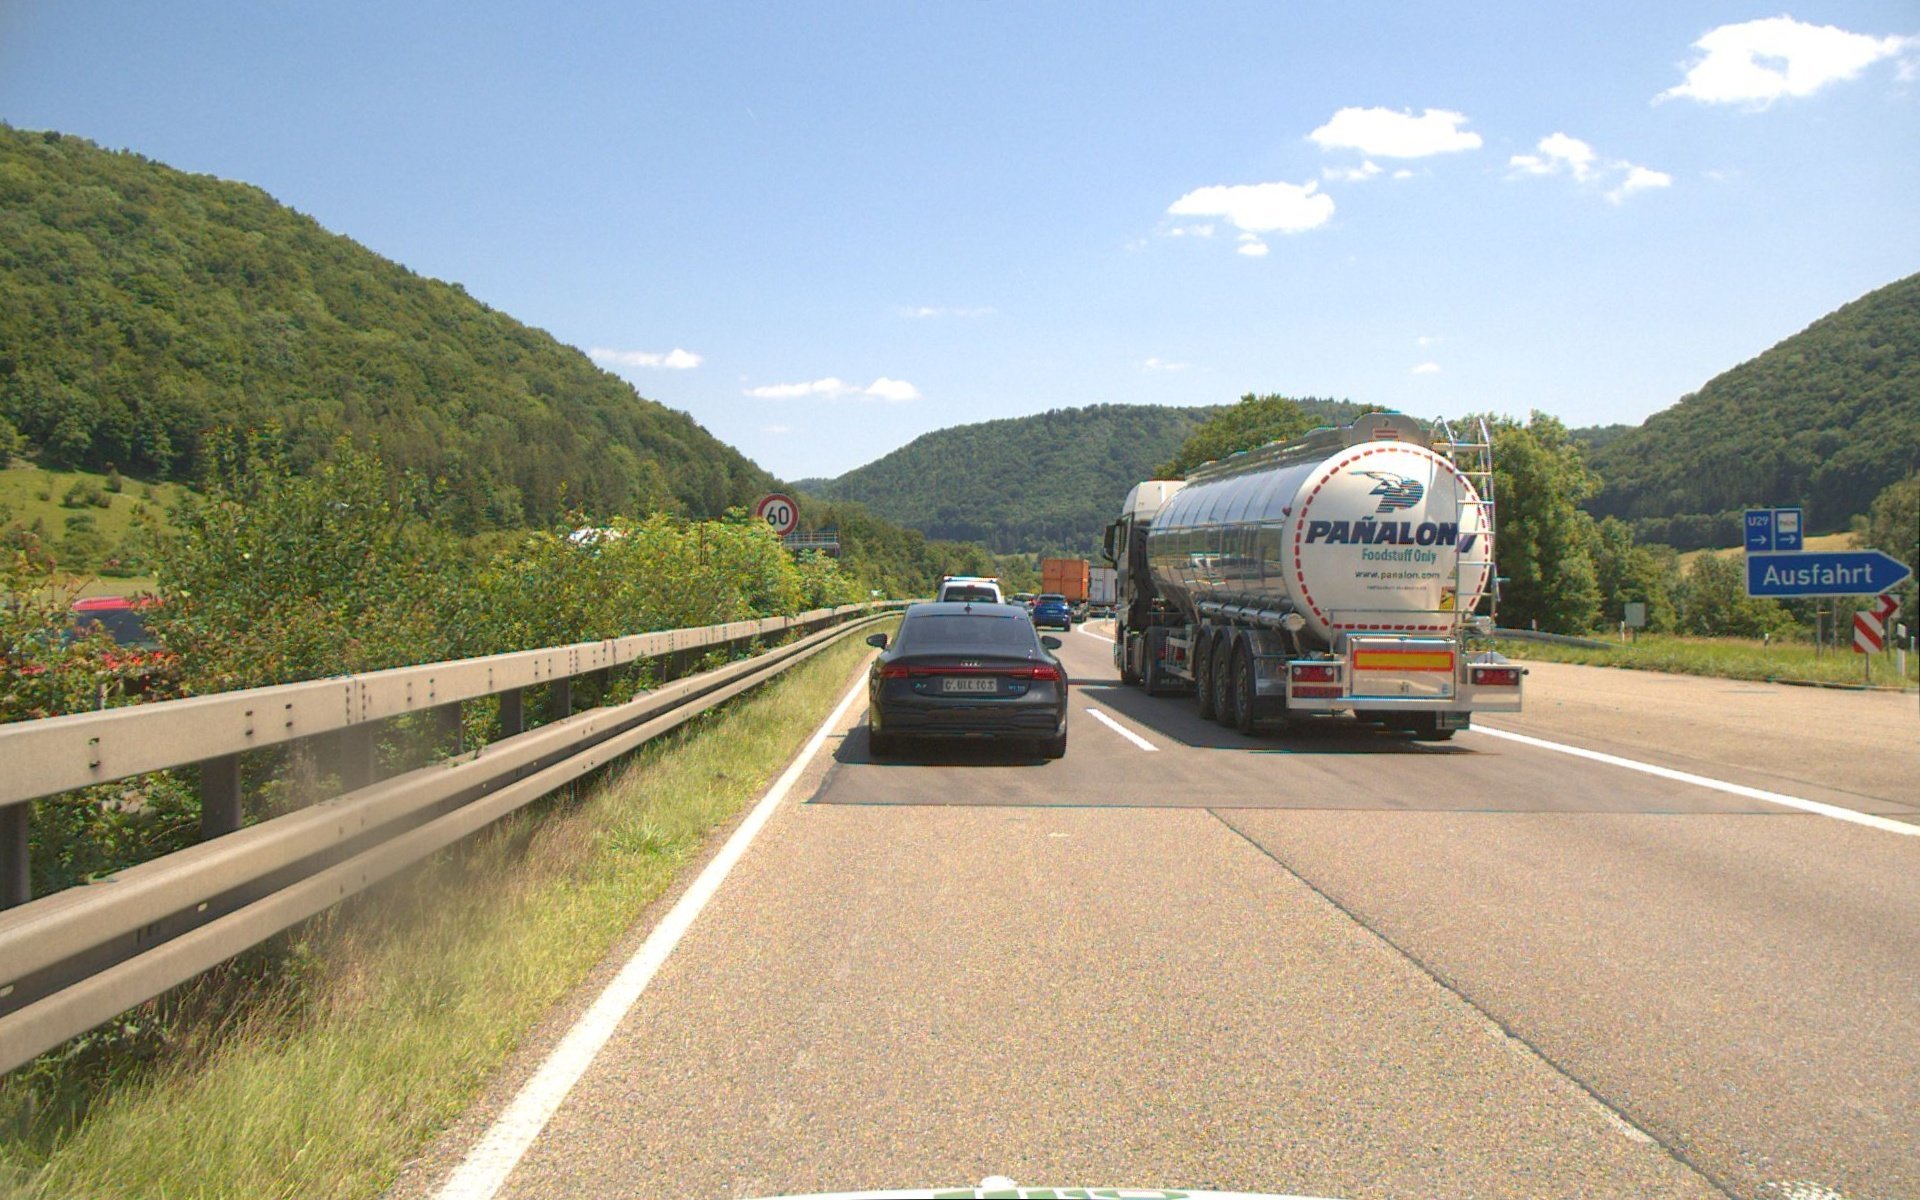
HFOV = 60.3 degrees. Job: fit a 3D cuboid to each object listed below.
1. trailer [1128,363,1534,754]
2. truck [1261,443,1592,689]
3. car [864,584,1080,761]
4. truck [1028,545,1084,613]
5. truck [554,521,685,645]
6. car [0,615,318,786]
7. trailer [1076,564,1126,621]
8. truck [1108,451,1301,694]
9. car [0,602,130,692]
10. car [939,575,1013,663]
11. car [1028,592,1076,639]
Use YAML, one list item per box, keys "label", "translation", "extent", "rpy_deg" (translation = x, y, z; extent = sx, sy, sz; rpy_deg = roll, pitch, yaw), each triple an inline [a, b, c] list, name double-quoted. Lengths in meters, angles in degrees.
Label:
- label: "trailer"
  translation: [4.233, -0.433, 22.107]
  extent: [2.487, 3.801, 11.888]
  rpy_deg: [0, 0, -1]
- label: "truck"
  translation: [9.128, -0.592, 34.992]
  extent: [2.760, 4.073, 14.954]
  rpy_deg: [0, 0, 0]
- label: "car"
  translation: [-0.010, 0.616, 16.376]
  extent: [1.813, 1.514, 4.079]
  rpy_deg: [0, 0, -4]
- label: "truck"
  translation: [6.078, -1.289, 107.190]
  extent: [2.760, 4.073, 14.954]
  rpy_deg: [0, 0, 0]
- label: "truck"
  translation: [-11.938, -0.580, 59.184]
  extent: [2.376, 3.967, 12.279]
  rpy_deg: [0, 0, -1]
- label: "car"
  translation: [-8.035, 0.911, 16.702]
  extent: [1.614, 1.467, 3.999]
  rpy_deg: [-1, 0, -1]
- label: "trailer"
  translation: [11.486, -0.636, 135.598]
  extent: [2.954, 4.459, 10.983]
  rpy_deg: [0, 0, -1]
- label: "truck"
  translation: [4.108, -0.444, 28.790]
  extent: [2.460, 3.824, 5.244]
  rpy_deg: [0, 0, -1]
- label: "car"
  translation: [-20.039, 0.990, 36.880]
  extent: [1.776, 1.870, 3.987]
  rpy_deg: [-1, 0, -12]
- label: "car"
  translation: [0.317, 0.402, 37.310]
  extent: [1.544, 1.865, 3.999]
  rpy_deg: [0, 0, -1]
- label: "car"
  translation: [4.225, 0.686, 76.349]
  extent: [1.953, 2.037, 4.000]
  rpy_deg: [-1, 0, 0]
